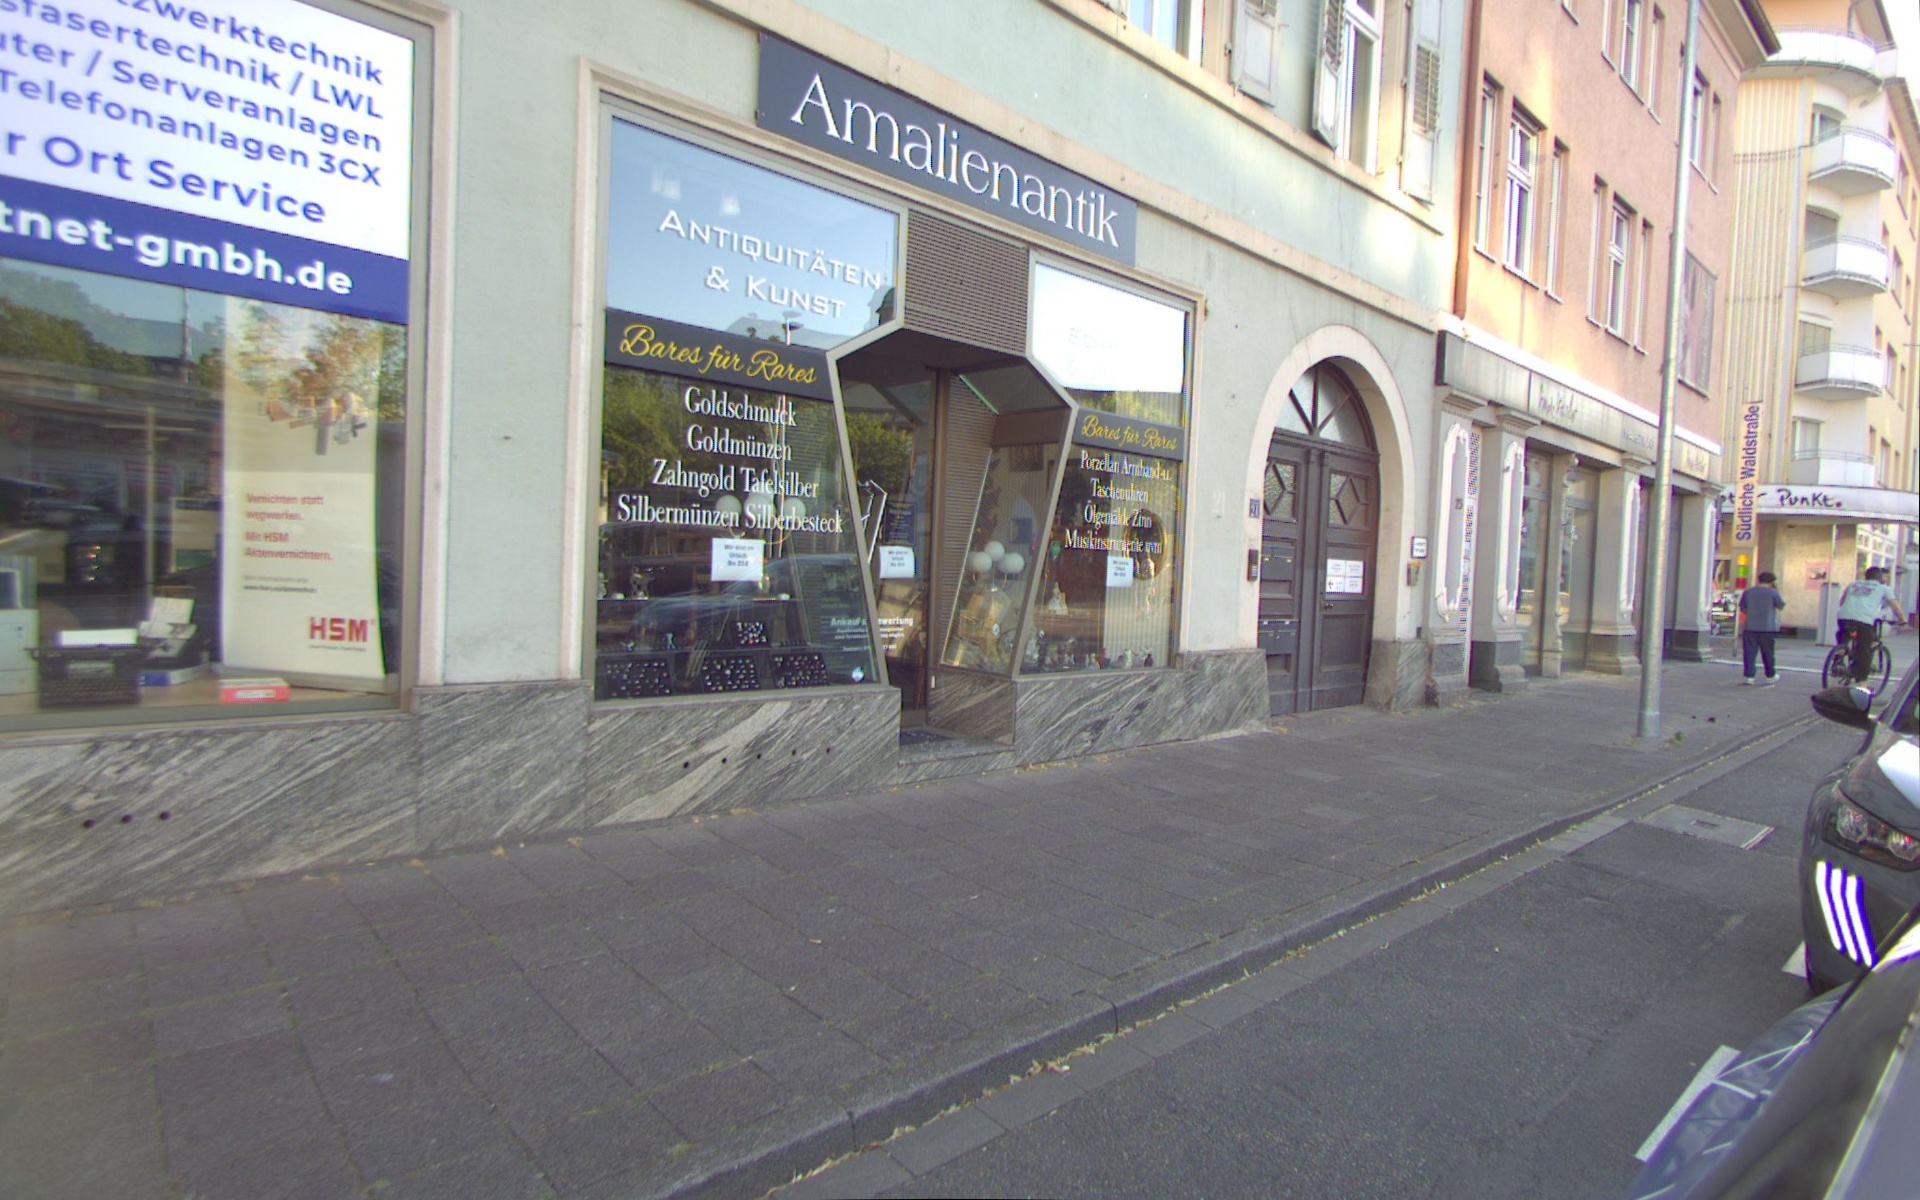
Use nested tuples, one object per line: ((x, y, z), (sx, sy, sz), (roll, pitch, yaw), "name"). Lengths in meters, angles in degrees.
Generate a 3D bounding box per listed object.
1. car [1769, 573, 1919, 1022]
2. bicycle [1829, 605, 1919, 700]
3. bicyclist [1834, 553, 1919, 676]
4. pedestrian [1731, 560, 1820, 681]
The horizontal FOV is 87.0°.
((5.123, 0.664, 4.405), (4.375, 1.465, 1.906), (0, 2, -44), "car")
((12.061, 0.649, 13.298), (1.863, 1.121, 0.691), (0, 2, -42), "bicycle")
((12.051, 0.171, 13.262), (0.884, 1.526, 0.723), (1, 2, -40), "bicyclist")
((11.844, 0.273, 14.696), (0.857, 1.662, 0.824), (0, 3, -43), "pedestrian")
